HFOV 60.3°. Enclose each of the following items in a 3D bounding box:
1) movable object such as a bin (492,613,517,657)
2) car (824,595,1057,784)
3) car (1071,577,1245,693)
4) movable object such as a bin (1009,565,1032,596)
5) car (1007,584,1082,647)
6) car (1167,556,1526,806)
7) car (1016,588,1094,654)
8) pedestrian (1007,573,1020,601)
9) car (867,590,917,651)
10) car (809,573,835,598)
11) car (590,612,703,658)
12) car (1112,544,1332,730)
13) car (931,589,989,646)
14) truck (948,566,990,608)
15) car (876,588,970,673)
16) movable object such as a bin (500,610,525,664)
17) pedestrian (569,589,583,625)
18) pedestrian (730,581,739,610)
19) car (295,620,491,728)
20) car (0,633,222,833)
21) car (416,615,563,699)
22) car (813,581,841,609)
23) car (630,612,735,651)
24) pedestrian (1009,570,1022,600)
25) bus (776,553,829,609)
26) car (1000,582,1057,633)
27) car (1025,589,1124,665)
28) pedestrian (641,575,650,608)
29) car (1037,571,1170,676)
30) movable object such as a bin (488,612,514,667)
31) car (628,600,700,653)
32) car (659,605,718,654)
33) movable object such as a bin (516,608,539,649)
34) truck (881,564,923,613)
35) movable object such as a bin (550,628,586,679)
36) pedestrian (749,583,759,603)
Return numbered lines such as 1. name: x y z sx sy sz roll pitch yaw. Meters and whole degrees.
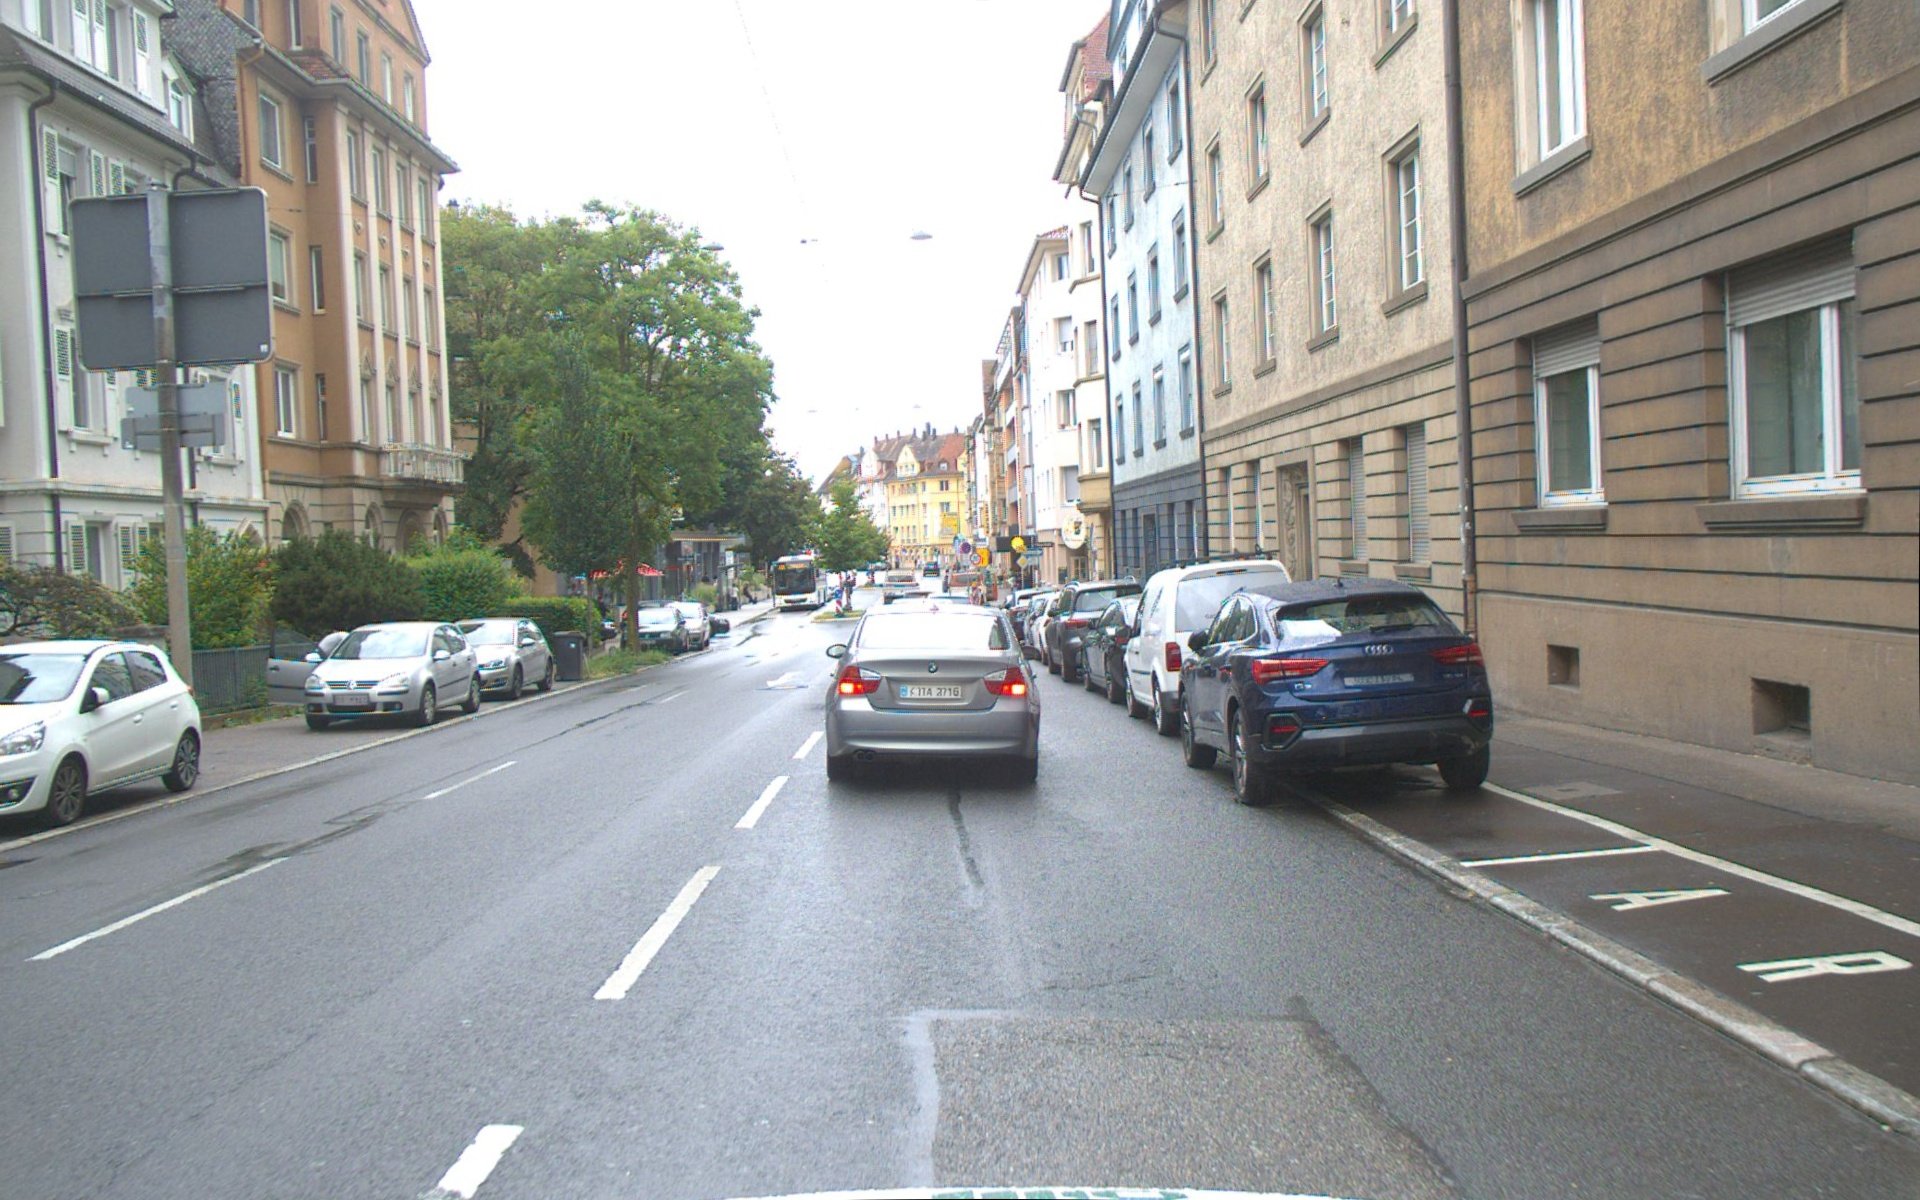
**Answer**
1. movable object such as a bin: -11.426 0.879 41.486 0.430 1.057 0.649 -2 0 -2
2. car: -0.181 0.682 13.898 1.720 1.386 3.163 -1 -1 -2
3. car: 2.842 0.471 24.675 1.804 1.433 4.385 -4 0 -2
4. movable object such as a bin: 3.581 -1.169 98.187 1.100 1.732 1.432 -3 -1 -4
5. car: 2.367 0.418 47.373 1.781 1.584 4.292 -4 0 -1
6. car: 2.877 0.531 13.280 1.754 1.575 4.225 -4 0 -1
7. car: 2.335 0.486 41.360 1.551 1.454 3.594 -5 0 -2
8. pedestrian: 3.254 -0.790 101.138 0.733 1.690 0.837 1 -1 5
9. car: -2.427 0.734 58.273 1.671 2.049 3.997 1 -1 -4
10. car: -11.647 -1.228 139.841 1.953 2.049 3.998 1 -1 -2
11. car: -11.490 1.273 60.688 3.737 1.413 1.743 -2 2 1
12. car: 2.960 0.376 19.529 1.755 1.849 4.079 -4 0 -2
13. car: 0.003 0.449 41.978 1.406 1.380 3.762 1 -1 0
14. truck: 0.476 -0.678 90.915 2.170 2.154 4.651 2 0 -1
15. car: -0.726 0.551 30.379 1.570 1.445 3.285 1 -1 -4
16. movable object such as a bin: -11.431 0.934 42.243 0.430 1.331 0.649 -2 0 -2
17. pedestrian: -19.908 0.363 85.704 0.623 1.847 0.636 -2 1 -14
18. pedestrian: -13.389 -0.256 98.134 0.532 1.739 0.465 1 -1 -8
19. car: -8.494 1.058 25.120 1.648 1.414 3.908 -1 0 -1
20. car: -8.237 1.105 14.881 1.613 1.534 3.794 -2 -1 -3
21. car: -8.730 1.016 30.985 1.648 1.414 3.935 -1 0 -1
22. car: -9.999 -0.339 124.507 1.953 2.049 3.998 1 -1 -2
23. car: -10.586 1.187 63.244 3.739 1.414 1.742 -1 -1 -3
24. pedestrian: 3.206 -0.853 95.208 0.736 1.690 0.752 1 -1 2
25. bus: -9.802 -1.099 104.037 2.627 3.257 11.949 1 -1 -2
26. car: 2.173 0.217 53.460 1.538 1.489 4.088 -4 0 -1
27. car: 2.484 0.551 36.690 1.695 1.454 3.972 -5 0 -2
28. pedestrian: -17.428 -0.491 91.679 0.456 1.821 0.543 1 -1 -8
29. car: 2.530 0.405 30.069 1.804 1.649 4.206 -3 0 -2
30. movable object such as a bin: -11.452 0.975 41.297 0.430 1.322 0.649 -2 0 -2
31. car: -8.960 0.765 50.333 1.621 1.479 3.940 -2 0 -3
32. car: -8.935 0.950 54.721 1.600 1.479 3.835 -2 0 -5
33. movable object such as a bin: -11.491 0.746 43.964 0.417 1.059 0.650 -2 0 -2
34. truck: -3.145 -0.582 89.921 2.172 2.589 4.777 1 -1 -2
35. movable object such as a bin: -8.550 1.157 36.111 0.617 1.076 0.600 -2 -1 -1
36. pedestrian: -14.166 -0.472 113.788 0.607 1.402 0.544 1 -1 0
